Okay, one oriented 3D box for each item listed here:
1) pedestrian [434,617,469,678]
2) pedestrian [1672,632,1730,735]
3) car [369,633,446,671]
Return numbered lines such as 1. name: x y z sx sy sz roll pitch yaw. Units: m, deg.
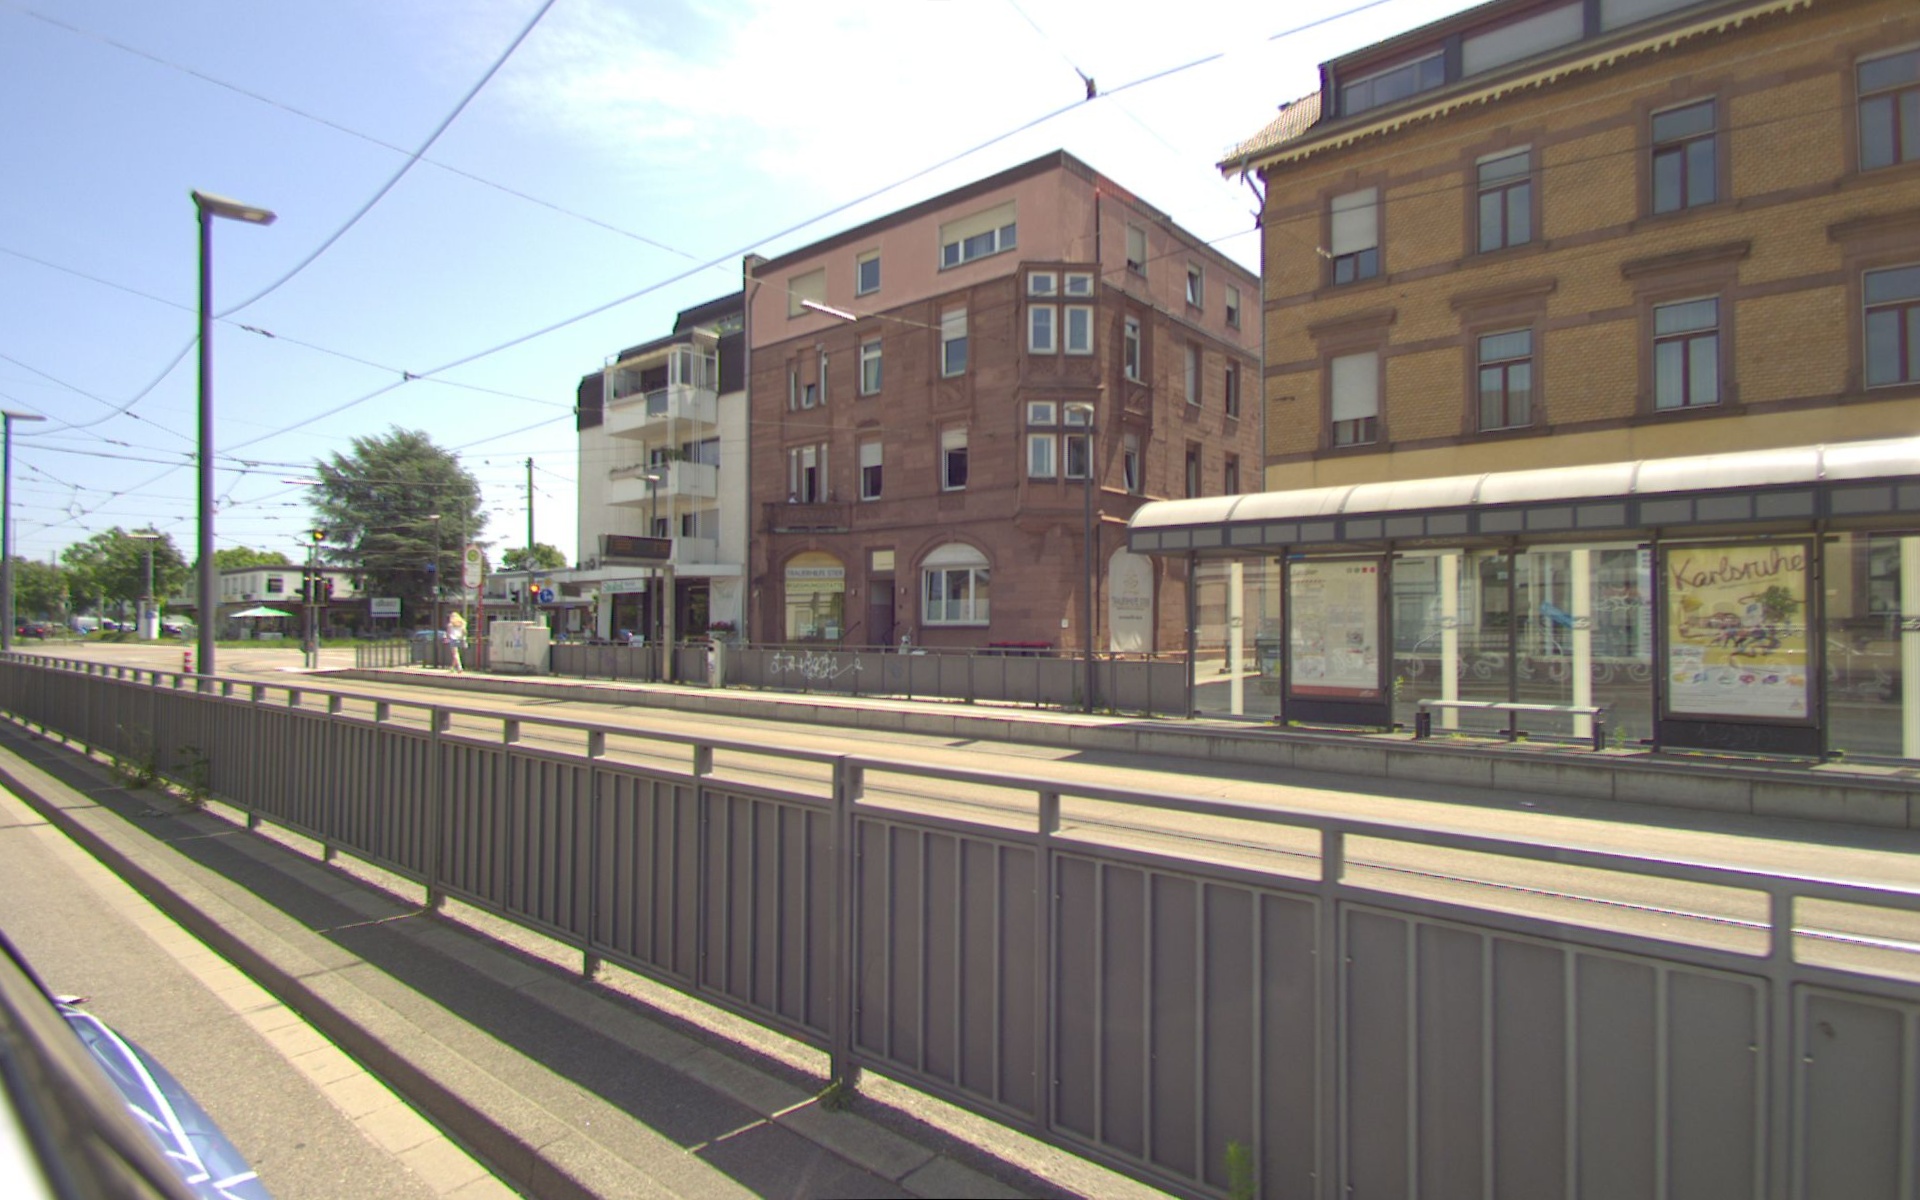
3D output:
1. pedestrian: -13.767 1.287 27.416 0.676 1.637 0.590 -2 -4 41
2. pedestrian: 11.940 1.317 16.302 0.714 1.608 0.597 -1 -2 38
3. car: -24.008 2.211 43.918 3.998 1.497 1.674 -1 -1 41
